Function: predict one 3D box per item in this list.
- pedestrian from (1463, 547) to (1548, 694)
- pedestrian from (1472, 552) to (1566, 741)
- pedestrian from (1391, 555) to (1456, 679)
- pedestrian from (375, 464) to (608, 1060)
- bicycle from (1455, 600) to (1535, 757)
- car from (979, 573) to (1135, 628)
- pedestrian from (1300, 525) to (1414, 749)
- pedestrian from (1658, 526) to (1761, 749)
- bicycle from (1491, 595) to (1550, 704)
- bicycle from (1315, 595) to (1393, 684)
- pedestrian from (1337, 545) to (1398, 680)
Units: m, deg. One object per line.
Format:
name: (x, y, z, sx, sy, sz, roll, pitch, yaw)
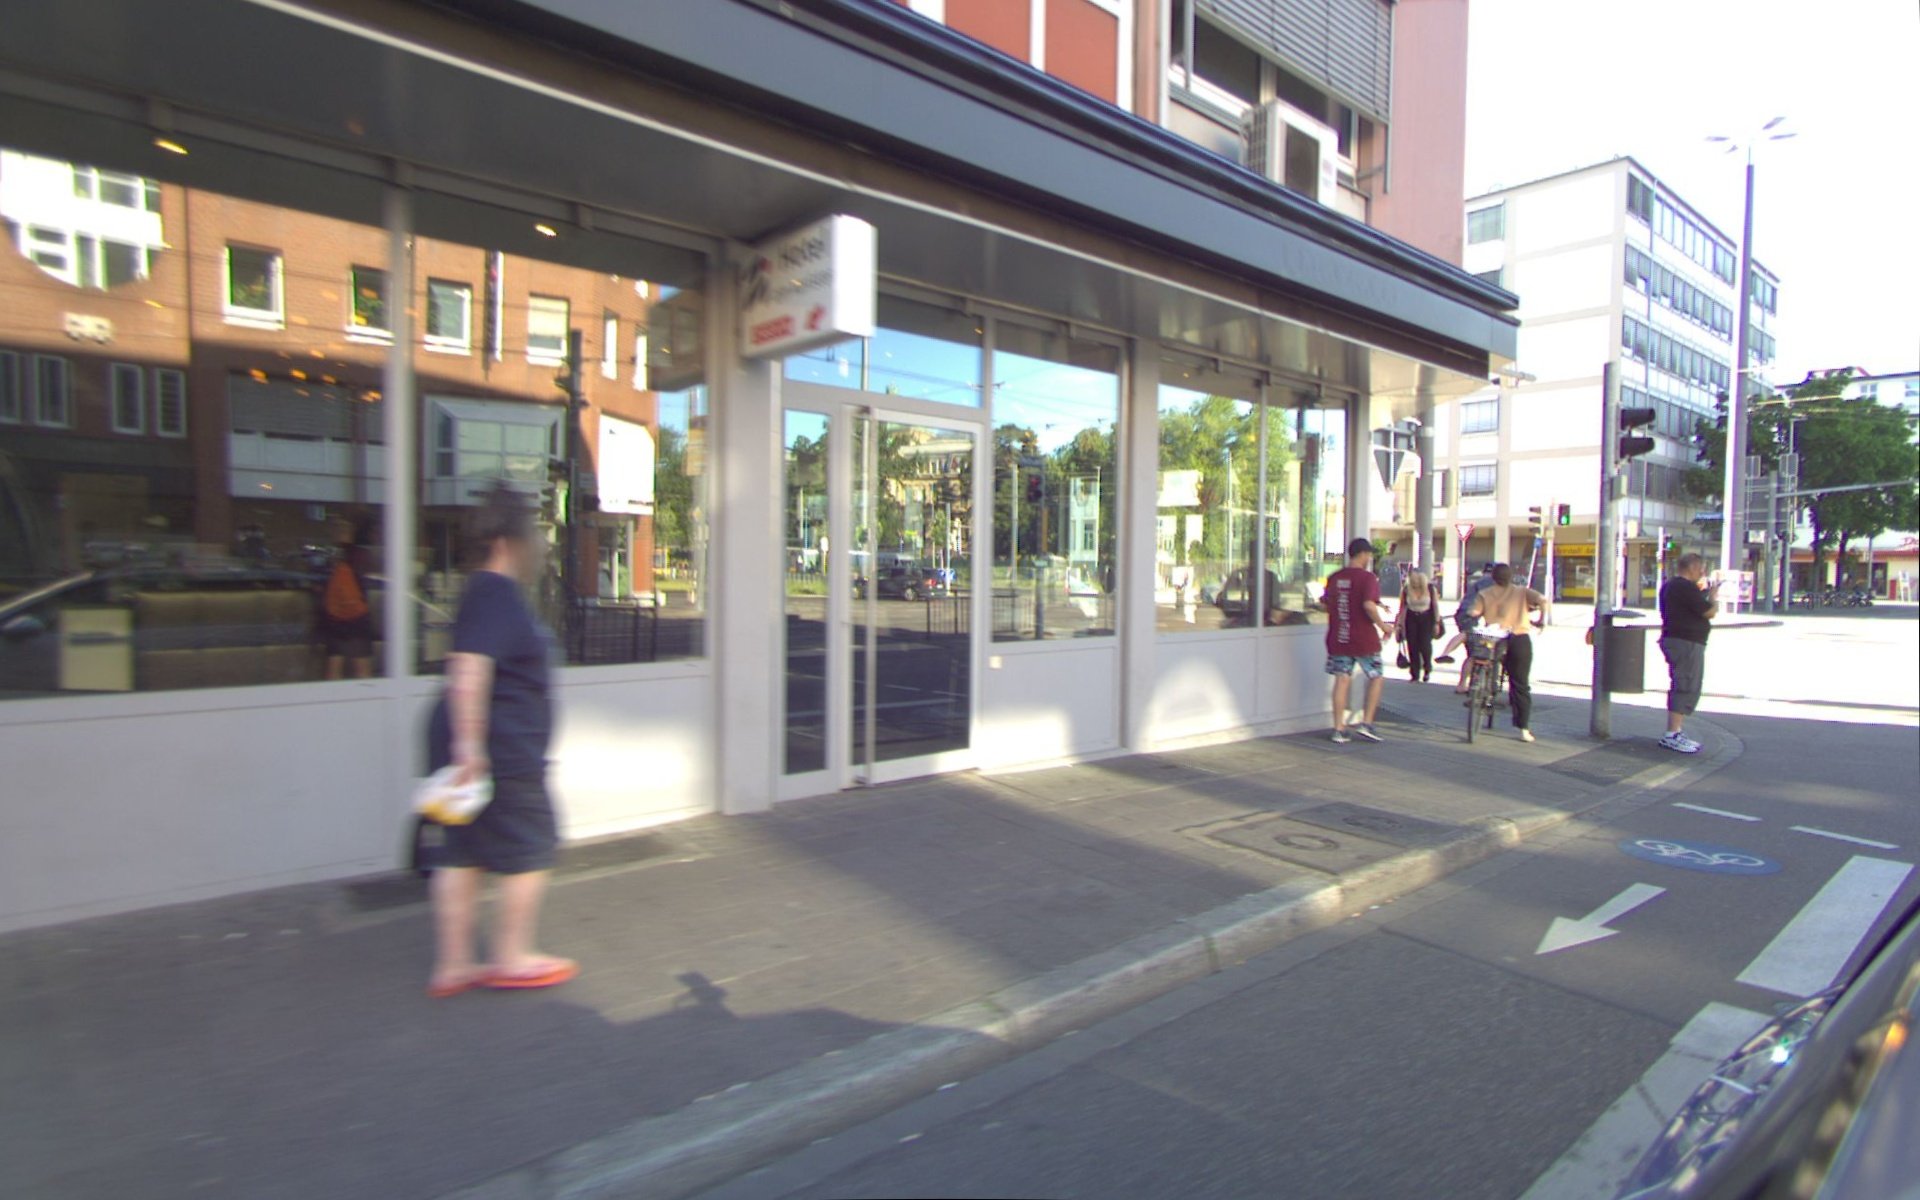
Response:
pedestrian: (6.689, 0.235, 12.447, 0.819, 1.732, 0.779, -1, 0, 24)
pedestrian: (5.054, 0.395, 9.148, 0.650, 1.627, 0.588, -1, 0, 36)
pedestrian: (6.346, 0.226, 13.879, 0.659, 1.643, 0.647, -1, 0, 14)
pedestrian: (-1.482, 0.426, 3.180, 0.486, 1.633, 0.708, -1, 3, -40)
bicycle: (4.841, 0.645, 9.110, 0.427, 1.229, 1.802, -1, 1, 34)
car: (2.638, -0.036, 27.935, 3.981, 1.400, 1.841, 1, 2, 40)
pedestrian: (3.354, 0.290, 8.550, 0.669, 1.783, 0.670, -1, 0, 44)
pedestrian: (6.594, 0.308, 8.917, 0.676, 1.866, 0.598, -1, 0, 37)
bicycle: (6.711, 0.550, 12.169, 0.478, 1.187, 1.744, -1, 1, 25)
bicycle: (5.409, 0.505, 13.988, 0.674, 1.079, 1.781, -2, 1, 12)
pedestrian: (5.605, 0.166, 13.944, 0.659, 1.801, 0.647, -1, 0, 14)
